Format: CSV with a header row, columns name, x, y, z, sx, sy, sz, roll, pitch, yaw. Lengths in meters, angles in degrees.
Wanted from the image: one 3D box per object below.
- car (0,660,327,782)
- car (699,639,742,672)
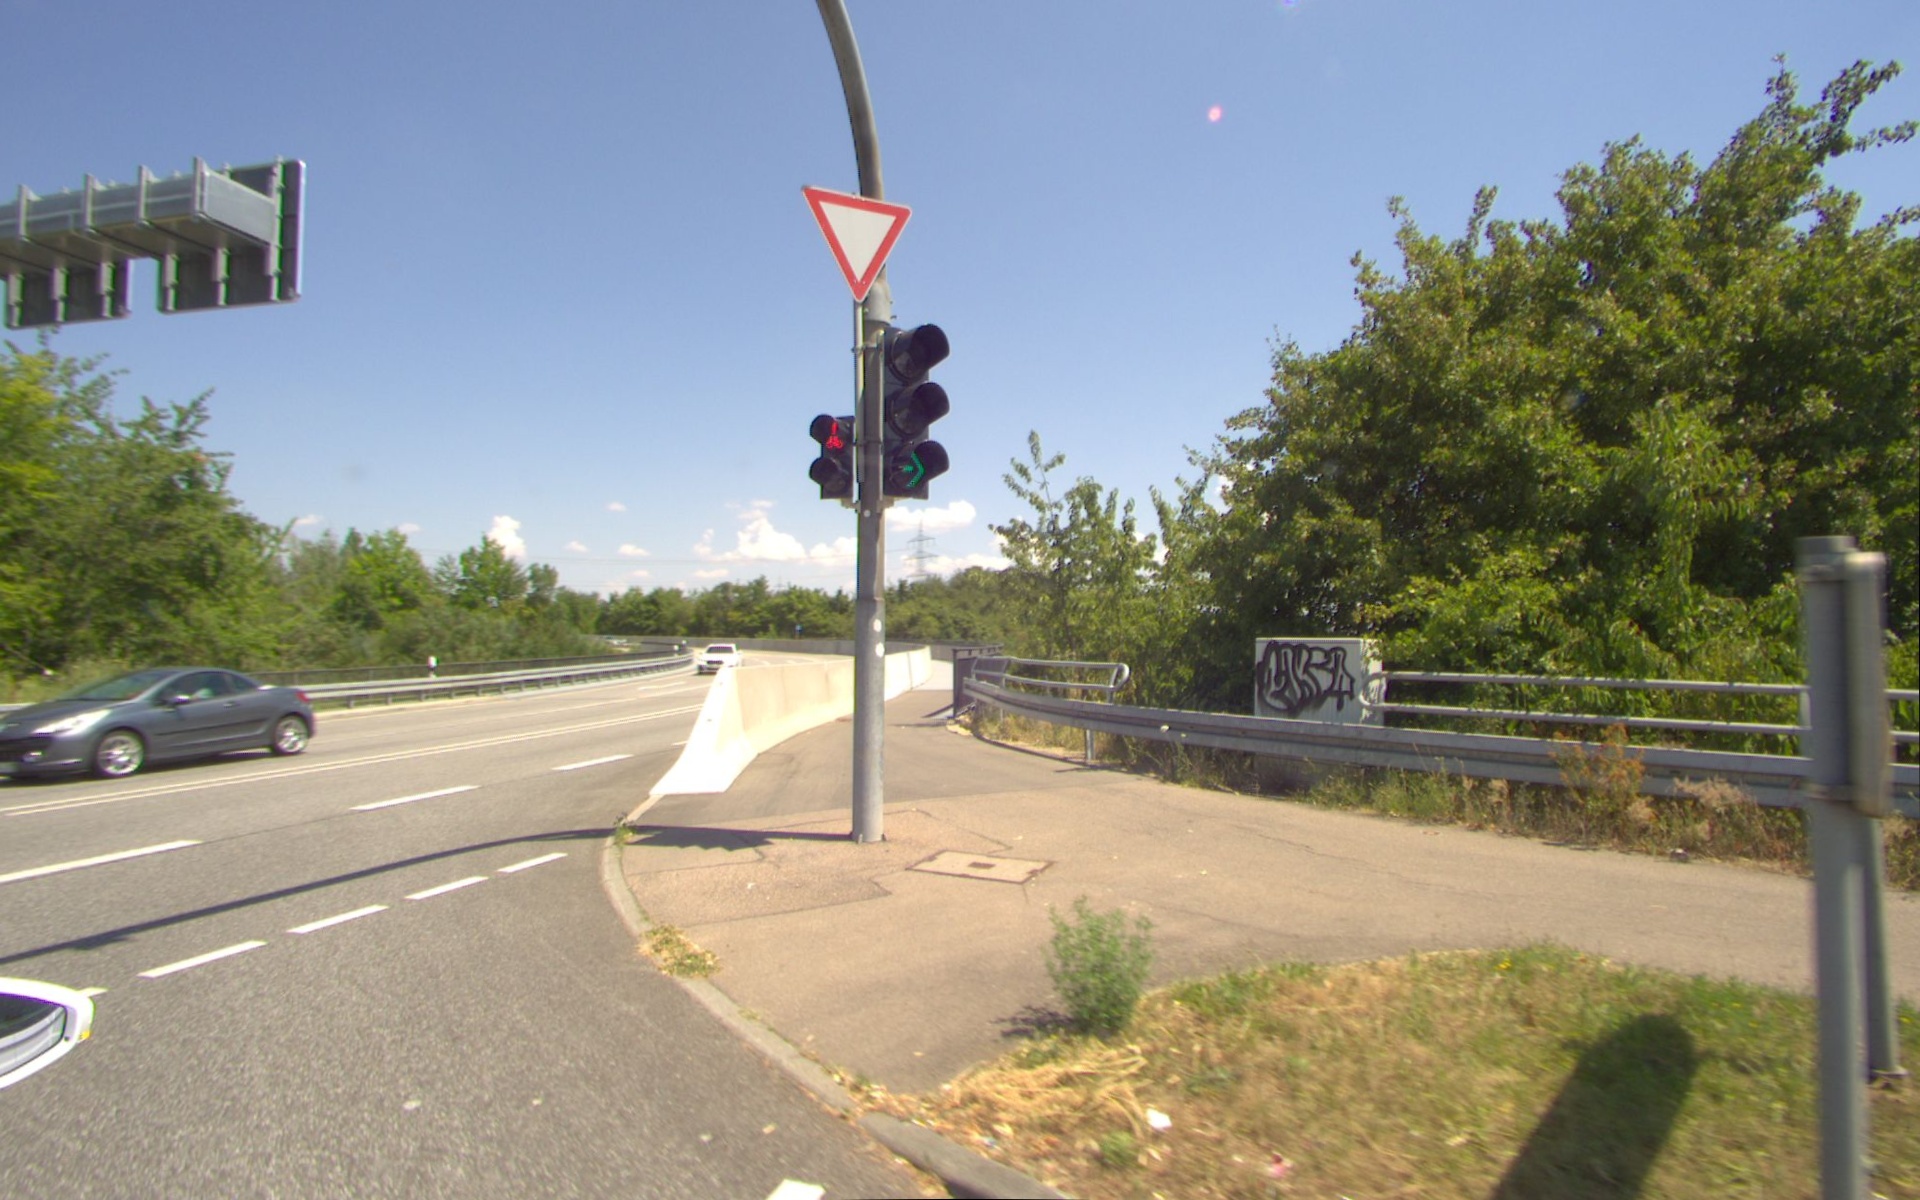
name,x,y,z,sx,sy,sz,roll,pitch,yaw
car,-11.128,1.577,13.899,1.620,1.368,3.968,-3,-3,12
car,-11.971,2.761,50.319,1.809,1.503,4.837,-2,-2,-11
